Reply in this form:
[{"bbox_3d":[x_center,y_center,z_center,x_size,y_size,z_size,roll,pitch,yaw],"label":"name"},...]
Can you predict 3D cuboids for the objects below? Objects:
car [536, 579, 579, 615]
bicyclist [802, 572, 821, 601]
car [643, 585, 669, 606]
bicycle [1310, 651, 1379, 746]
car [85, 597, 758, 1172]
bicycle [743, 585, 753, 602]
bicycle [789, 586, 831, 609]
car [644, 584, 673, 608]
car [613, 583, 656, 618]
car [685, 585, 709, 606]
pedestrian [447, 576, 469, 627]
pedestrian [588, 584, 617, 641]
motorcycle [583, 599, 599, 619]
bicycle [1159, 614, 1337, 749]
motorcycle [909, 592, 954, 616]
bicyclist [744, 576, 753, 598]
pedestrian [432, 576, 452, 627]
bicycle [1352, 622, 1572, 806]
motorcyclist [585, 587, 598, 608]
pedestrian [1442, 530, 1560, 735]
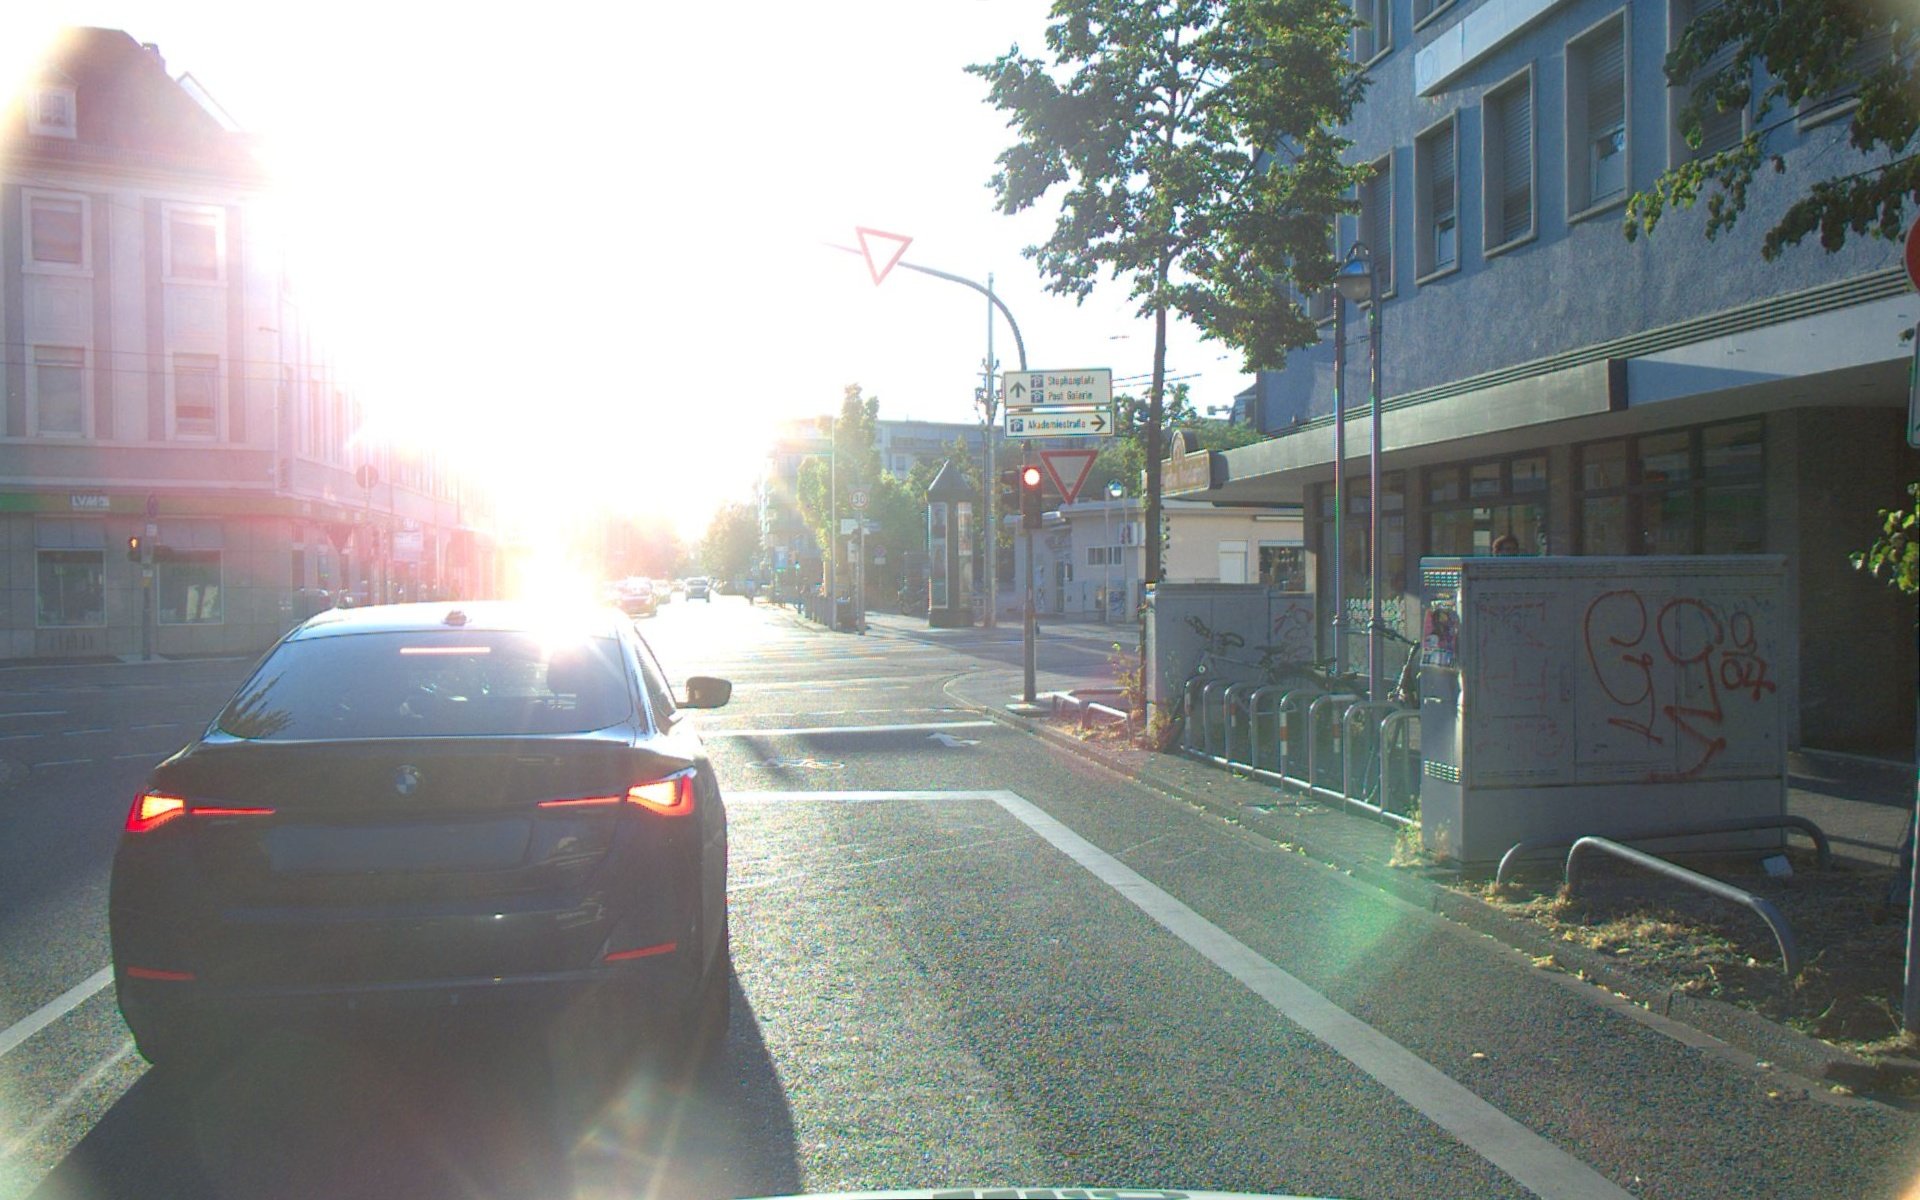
[{"bbox_3d":[-21.083,-0.171,86.788,1.784,1.819,3.992,-1,1,-9],"label":"car"},{"bbox_3d":[-7.979,-0.711,88.885,0.865,1.532,0.612,1,0,3],"label":"bicyclist"},{"bbox_3d":[-22.567,-0.358,122.855,1.784,1.545,3.992,-1,1,-9],"label":"car"},{"bbox_3d":[3.566,0.904,15.388,0.245,0.810,1.114,1,0,-7],"label":"bicycle"},{"bbox_3d":[-1.748,0.727,6.466,1.705,1.453,4.214,0,0,-10],"label":"car"},{"bbox_3d":[-14.381,-0.424,112.313,0.540,1.179,2.139,1,0,-10],"label":"bicycle"},{"bbox_3d":[-8.082,-0.126,88.884,2.166,1.223,0.620,1,0,2],"label":"bicycle"},{"bbox_3d":[-20.479,-0.266,112.356,1.784,1.545,3.992,-1,1,-9],"label":"car"},{"bbox_3d":[-15.210,0.010,77.415,1.784,1.545,3.992,-1,1,-9],"label":"car"},{"bbox_3d":[-20.373,-0.355,128.106,1.784,1.545,3.992,-1,1,-9],"label":"car"},{"bbox_3d":[-18.879,0.063,62.193,0.664,1.909,0.616,1,0,-9],"label":"pedestrian"},{"bbox_3d":[-9.907,0.345,45.811,0.721,1.555,0.470,1,0,-18],"label":"pedestrian"},{"bbox_3d":[-17.779,0.409,79.762,0.564,0.931,2.196,1,0,-8],"label":"motorcycle"},{"bbox_3d":[2.646,0.740,15.194,1.582,1.191,0.318,-1,0,-7],"label":"bicycle"},{"bbox_3d":[-1.164,0.161,67.825,1.644,0.955,0.851,-1,1,-20],"label":"motorcycle"},{"bbox_3d":[-14.388,-0.866,112.373,0.540,1.507,0.721,1,0,-10],"label":"bicyclist"},{"bbox_3d":[-19.604,0.049,62.592,0.631,1.909,0.630,1,0,-9],"label":"pedestrian"},{"bbox_3d":[3.470,0.784,11.448,1.413,1.241,0.383,1,0,-8],"label":"bicycle"},{"bbox_3d":[-17.729,-0.130,79.532,0.564,1.013,0.701,1,0,-9],"label":"motorcyclist"},{"bbox_3d":[5.100,0.296,15.618,0.820,1.874,0.677,-1,0,-9],"label":"pedestrian"}]
